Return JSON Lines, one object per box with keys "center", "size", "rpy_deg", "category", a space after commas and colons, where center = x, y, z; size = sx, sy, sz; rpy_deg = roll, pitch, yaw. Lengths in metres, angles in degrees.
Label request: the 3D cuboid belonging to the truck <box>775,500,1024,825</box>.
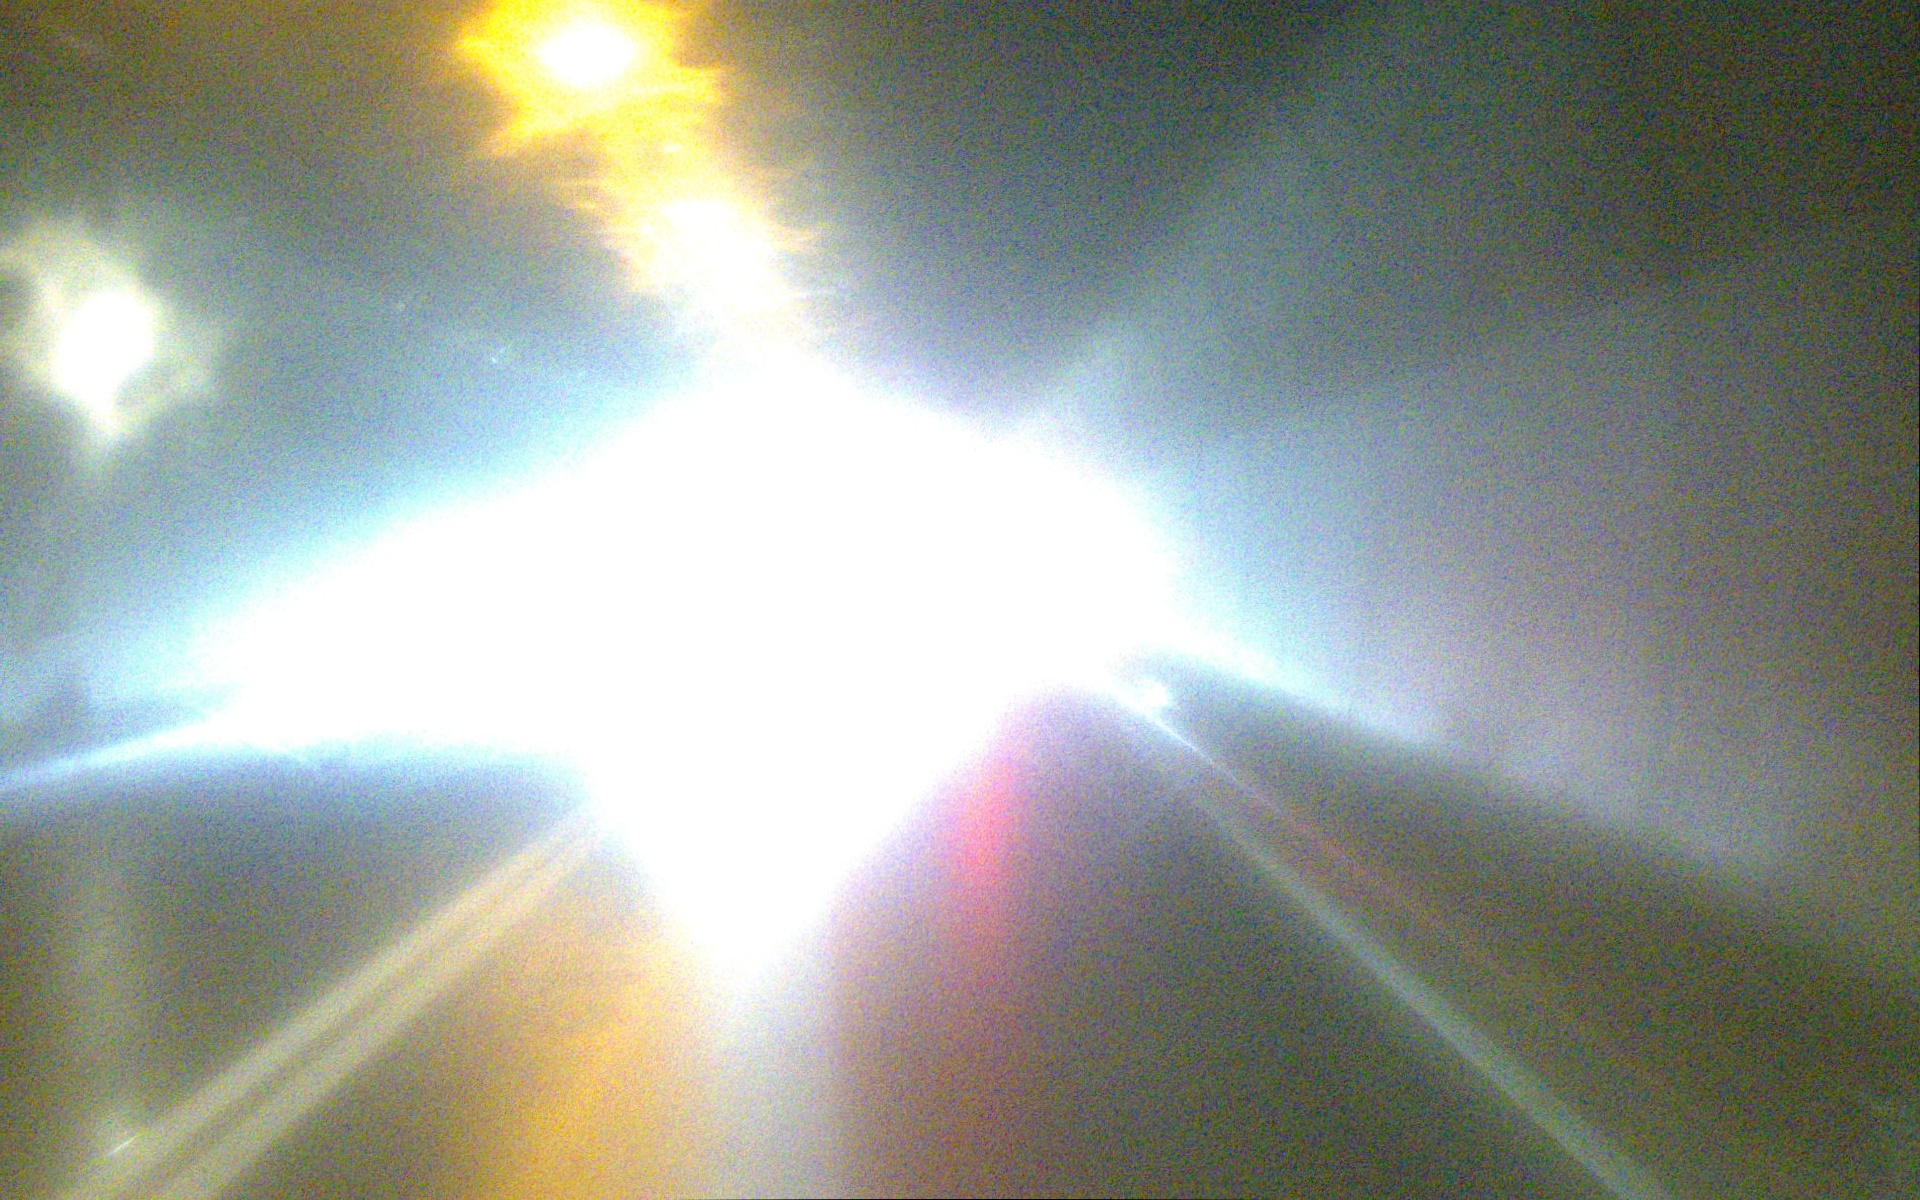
{"center": [-0.612, 0.569, 36.240], "size": [2.262, 3.001, 7.415], "rpy_deg": [2, 0, -1], "category": "truck"}
